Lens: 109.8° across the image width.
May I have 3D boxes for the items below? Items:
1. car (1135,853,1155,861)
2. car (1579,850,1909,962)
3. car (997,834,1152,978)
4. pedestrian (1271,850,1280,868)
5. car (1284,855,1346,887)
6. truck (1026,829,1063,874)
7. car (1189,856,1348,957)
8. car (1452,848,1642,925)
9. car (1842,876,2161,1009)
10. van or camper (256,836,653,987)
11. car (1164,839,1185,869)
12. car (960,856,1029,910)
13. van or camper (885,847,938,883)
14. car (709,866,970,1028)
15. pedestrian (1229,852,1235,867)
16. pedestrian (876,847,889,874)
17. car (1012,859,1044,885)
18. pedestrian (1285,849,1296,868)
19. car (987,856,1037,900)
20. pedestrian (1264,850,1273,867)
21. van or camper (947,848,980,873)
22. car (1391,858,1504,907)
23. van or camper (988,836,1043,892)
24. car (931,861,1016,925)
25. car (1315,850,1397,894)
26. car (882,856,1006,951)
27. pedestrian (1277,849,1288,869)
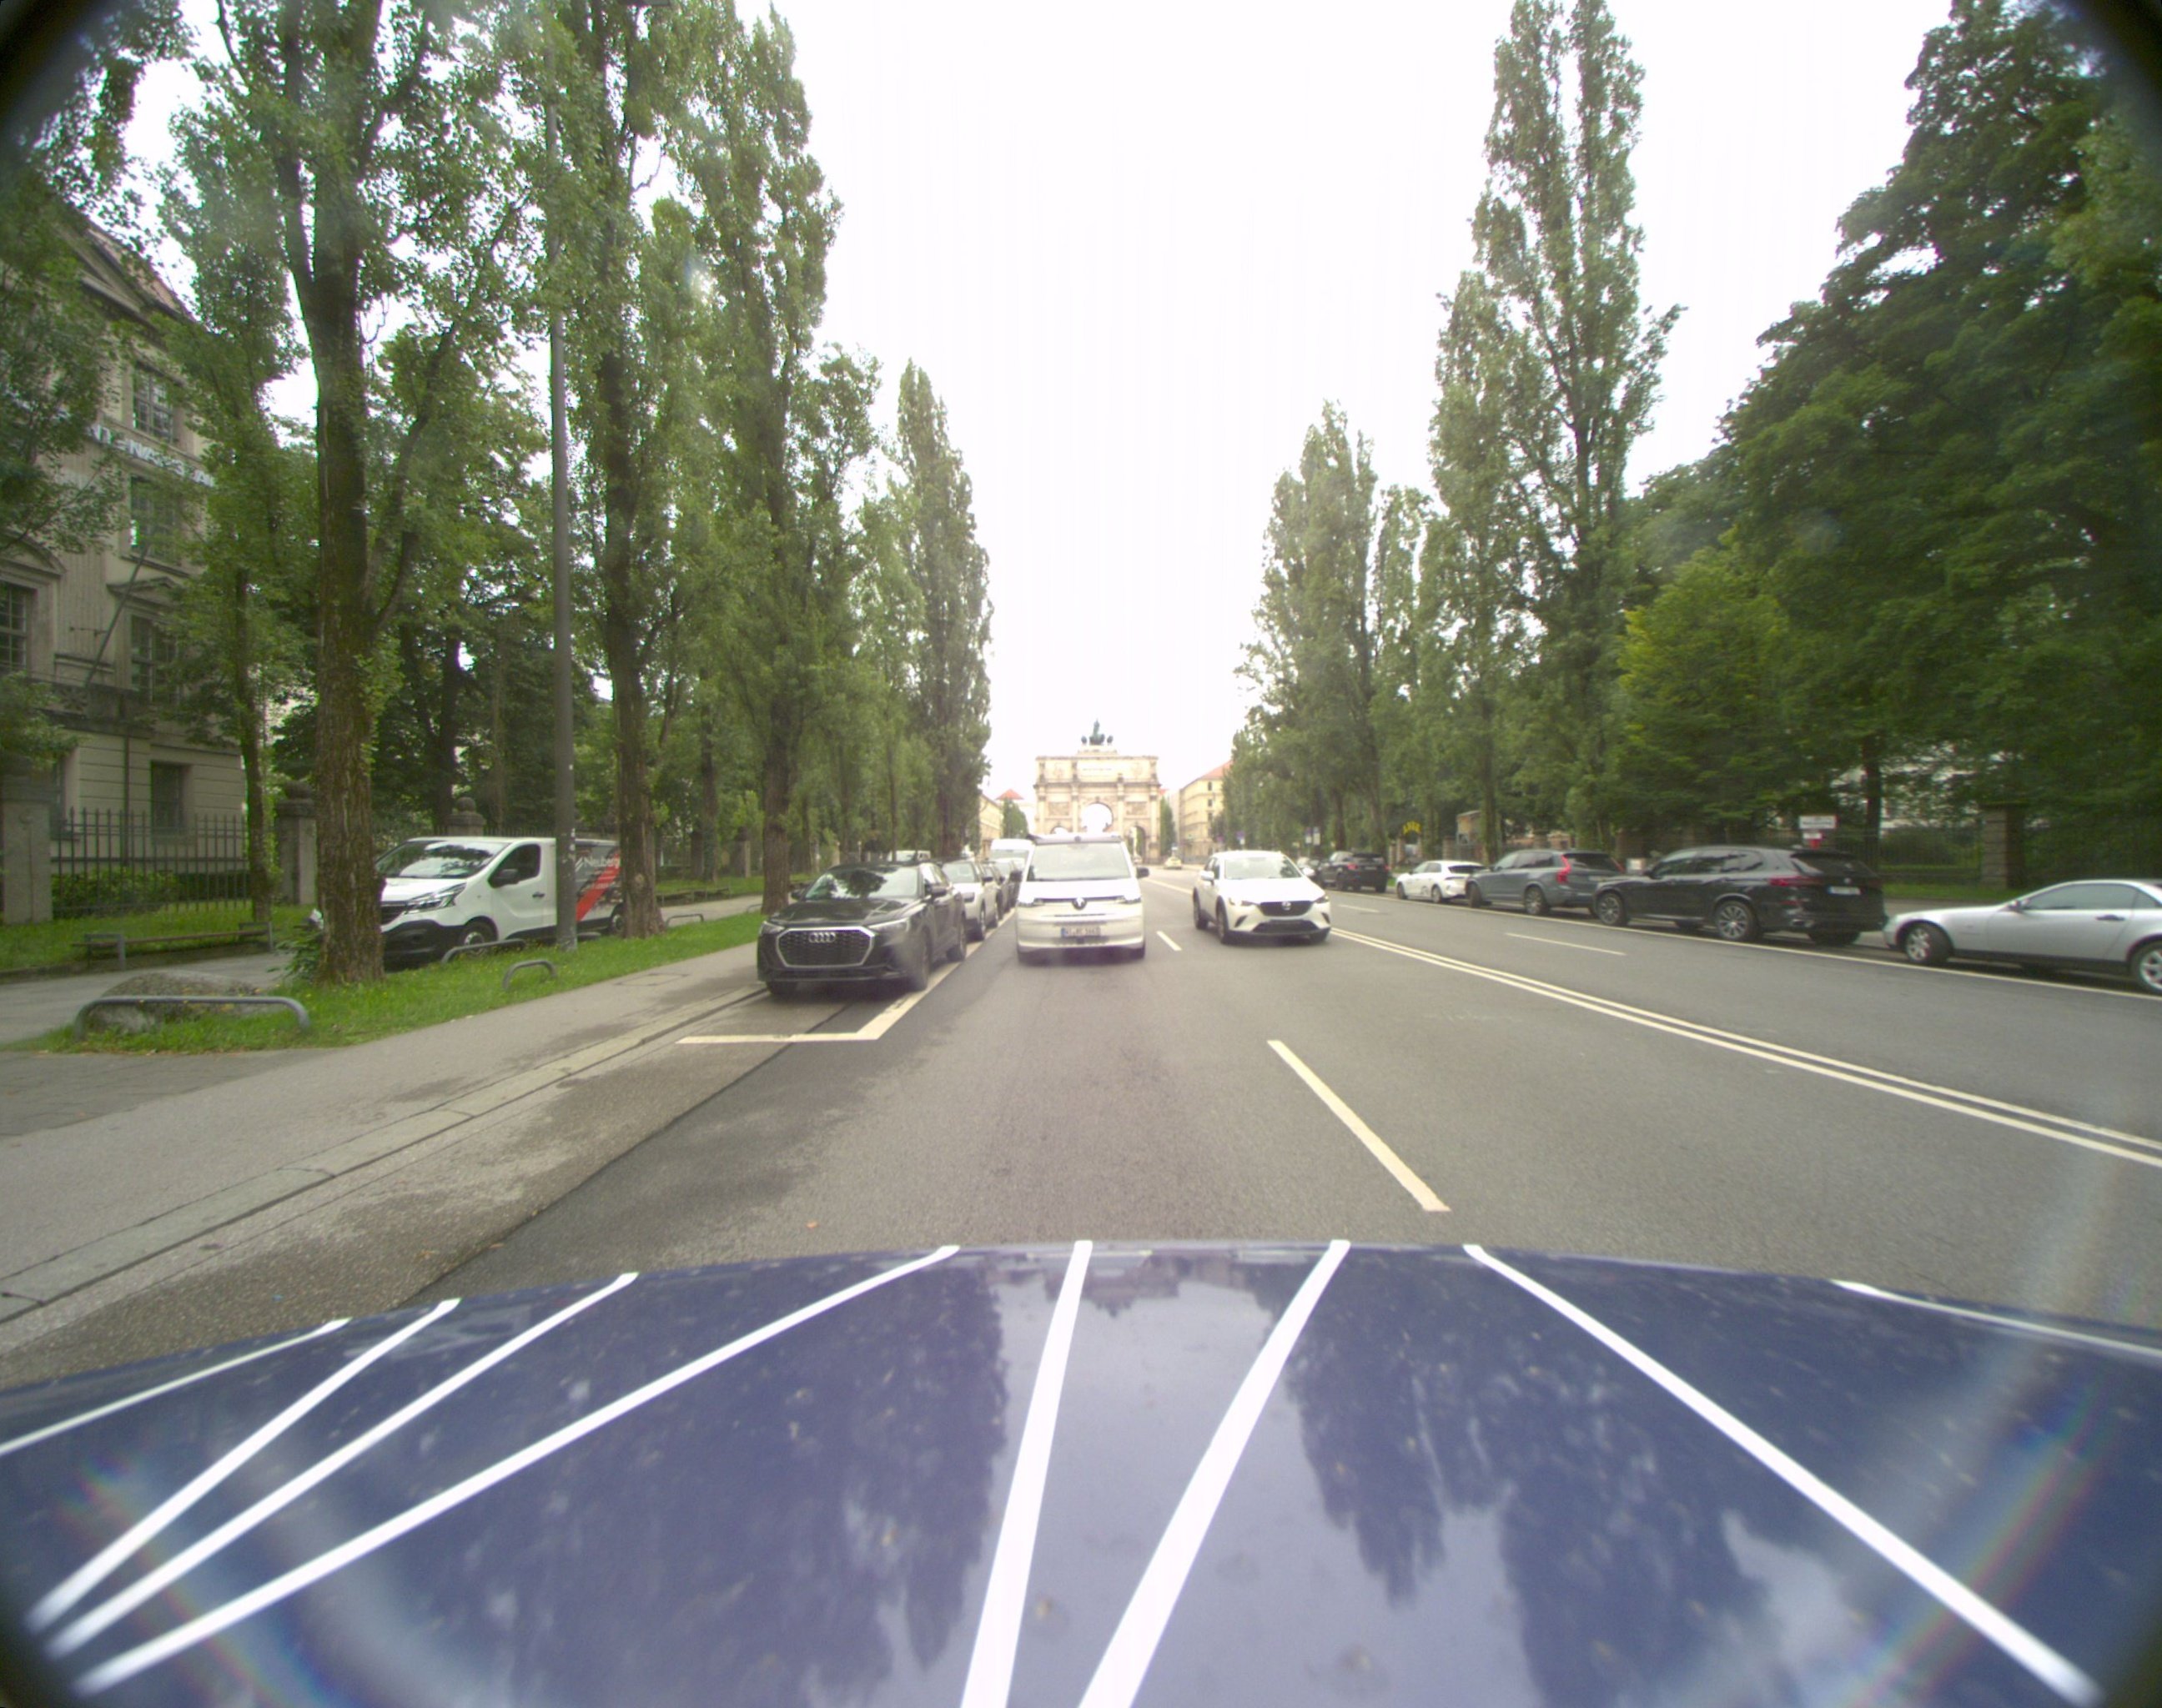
[{"bbox_3d":[13.738,0.718,162.570,2.004,1.739,3.989,-1,0,-40],"label":"car"},{"bbox_3d":[12.391,0.842,14.794,1.946,1.757,4.894,2,0,-3],"label":"car"},{"bbox_3d":[-0.073,0.704,13.192,2.064,1.916,5.728,-1,0,0],"label":"car"},{"bbox_3d":[18.915,0.480,73.827,0.661,1.706,0.911,0,0,-1],"label":"pedestrian"},{"bbox_3d":[12.428,0.857,40.710,1.949,1.574,4.388,1,0,0],"label":"car"},{"bbox_3d":[-3.106,-0.193,67.367,2.852,3.543,10.277,-1,0,-1],"label":"truck"},{"bbox_3d":[3.158,0.815,13.646,1.910,1.516,4.009,-1,0,1],"label":"car"},{"bbox_3d":[12.459,0.776,20.826,1.914,1.779,5.179,2,0,-1],"label":"car"},{"bbox_3d":[12.527,1.027,9.440,1.831,1.326,4.233,2,0,-1],"label":"car"},{"bbox_3d":[-9.715,0.755,12.636,2.081,1.922,5.368,-2,0,0],"label":"van or camper"},{"bbox_3d":[11.341,-0.047,92.191,1.798,1.334,4.449,8,30,-5],"label":"car"},{"bbox_3d":[-2.797,0.897,25.573,1.788,1.608,4.637,-1,0,0],"label":"car"},{"bbox_3d":[-9.857,0.620,44.526,1.980,1.922,5.037,-2,0,-1],"label":"van or camper"},{"bbox_3d":[-2.725,0.962,9.776,1.885,1.531,4.464,-1,0,0],"label":"car"},{"bbox_3d":[17.881,0.615,89.977,0.533,1.720,0.583,-1,0,-11],"label":"pedestrian"},{"bbox_3d":[-14.773,0.486,56.567,0.905,2.002,0.956,0,1,-16],"label":"pedestrian"},{"bbox_3d":[-3.055,1.001,44.153,1.681,1.412,3.999,-1,0,-2],"label":"car"},{"bbox_3d":[19.763,0.420,71.670,0.711,1.762,1.092,0,1,-1],"label":"pedestrian"},{"bbox_3d":[-2.723,0.902,30.817,1.789,1.639,4.417,-1,0,-2],"label":"car"},{"bbox_3d":[18.197,0.441,73.772,0.689,1.690,0.885,0,0,-1],"label":"pedestrian"},{"bbox_3d":[-9.846,0.550,64.012,2.009,2.002,4.985,-2,0,-2],"label":"van or camper"},{"bbox_3d":[12.339,0.914,25.886,1.708,1.450,4.272,2,0,-1],"label":"car"},{"bbox_3d":[-3.109,0.446,37.452,2.144,2.525,6.416,-1,0,0],"label":"van or camper"},{"bbox_3d":[-2.810,0.976,20.677,1.707,1.511,4.295,-1,0,0],"label":"car"},{"bbox_3d":[12.318,0.760,34.421,2.051,1.776,4.800,2,0,2],"label":"car"},{"bbox_3d":[-2.658,0.887,15.745,1.747,1.665,4.579,-1,0,0],"label":"car"},{"bbox_3d":[19.019,0.478,71.673,0.711,1.823,1.092,0,1,-1],"label":"pedestrian"}]
